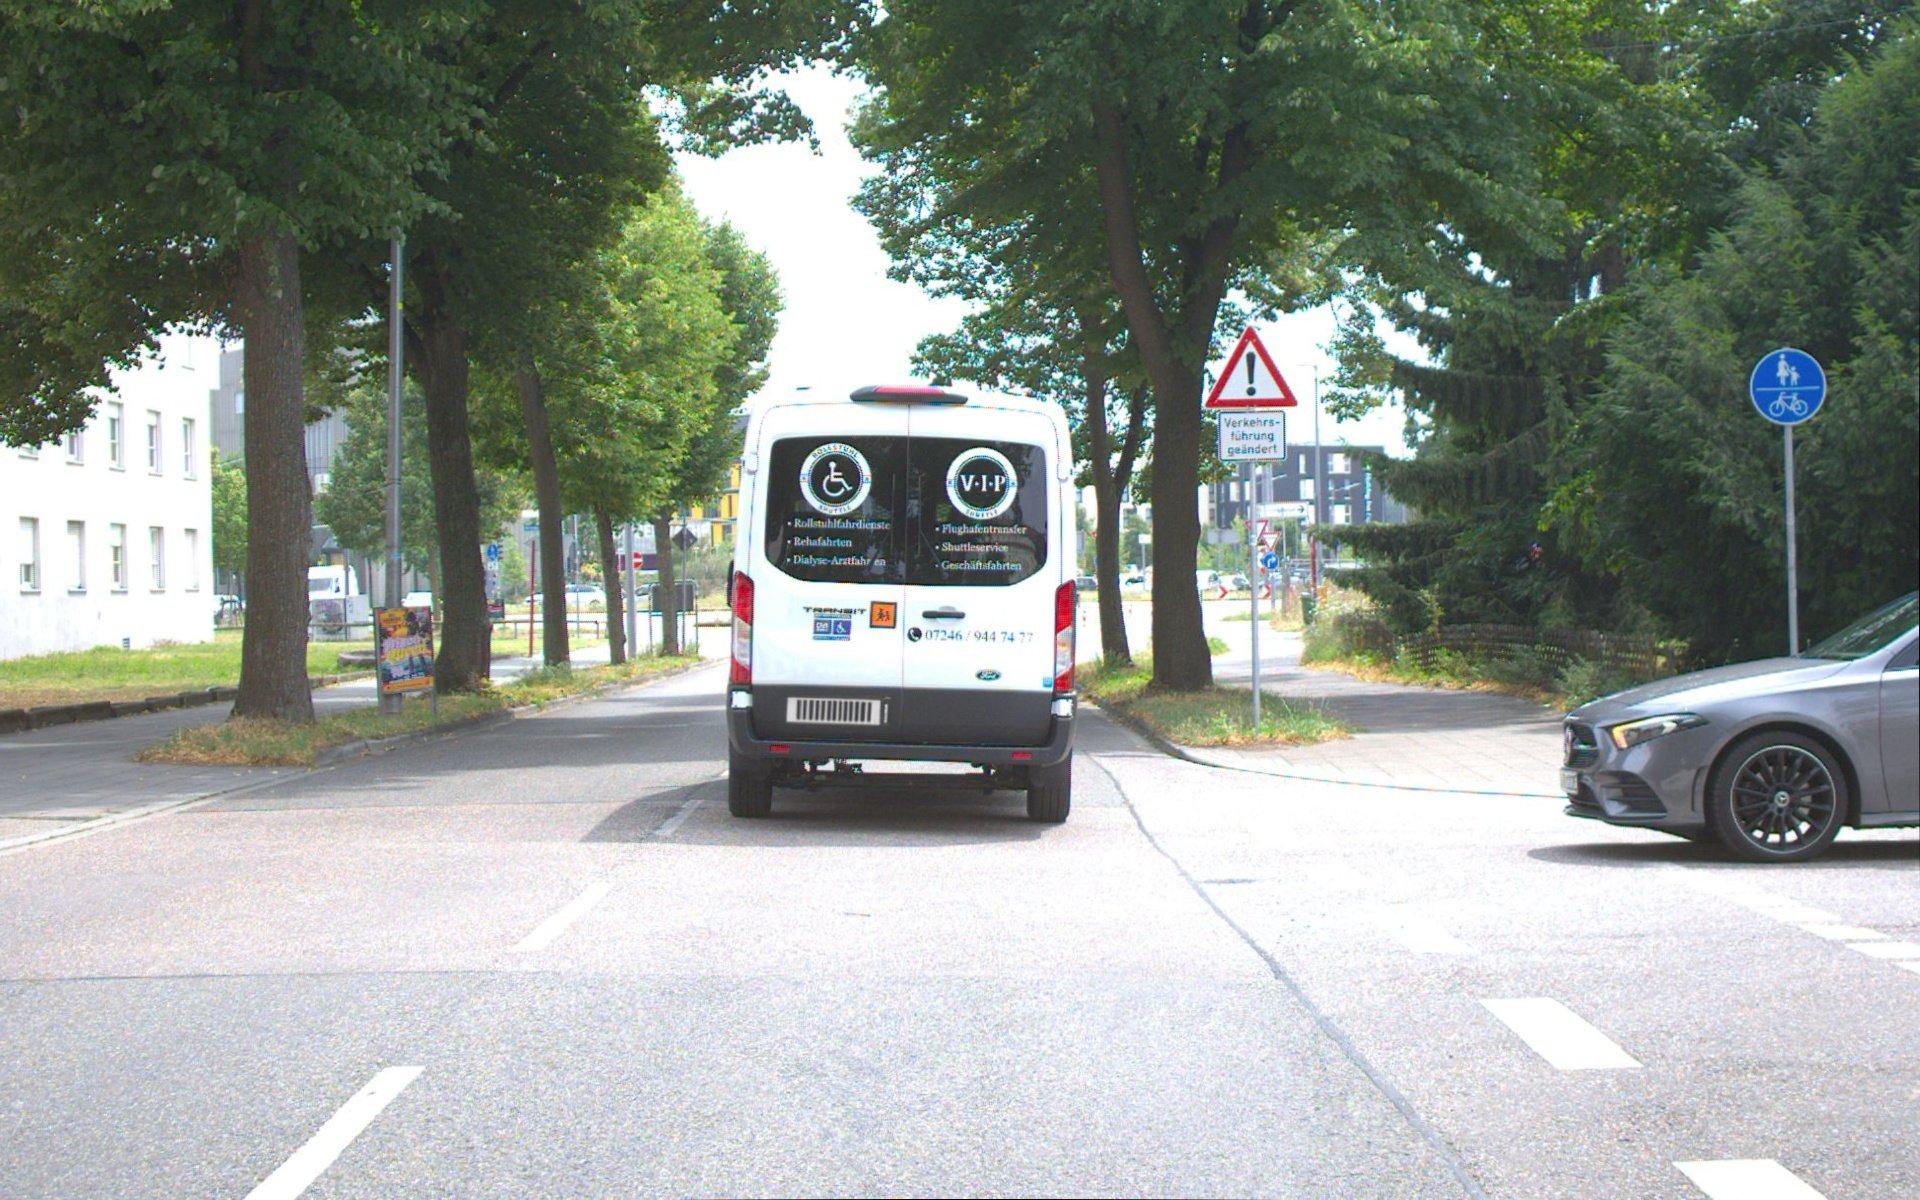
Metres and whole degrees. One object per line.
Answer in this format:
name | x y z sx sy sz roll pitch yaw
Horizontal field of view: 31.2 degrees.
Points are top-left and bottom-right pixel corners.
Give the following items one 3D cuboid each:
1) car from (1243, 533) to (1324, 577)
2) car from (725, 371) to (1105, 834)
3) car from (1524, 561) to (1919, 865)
car | 14.263 -1.991 151.331 2.009 1.810 4.406 -2 1 26
car | -0.364 -0.034 21.032 2.062 2.531 4.001 1 1 -3
car | 5.255 0.537 17.685 4.371 1.438 2.011 -1 -1 1
